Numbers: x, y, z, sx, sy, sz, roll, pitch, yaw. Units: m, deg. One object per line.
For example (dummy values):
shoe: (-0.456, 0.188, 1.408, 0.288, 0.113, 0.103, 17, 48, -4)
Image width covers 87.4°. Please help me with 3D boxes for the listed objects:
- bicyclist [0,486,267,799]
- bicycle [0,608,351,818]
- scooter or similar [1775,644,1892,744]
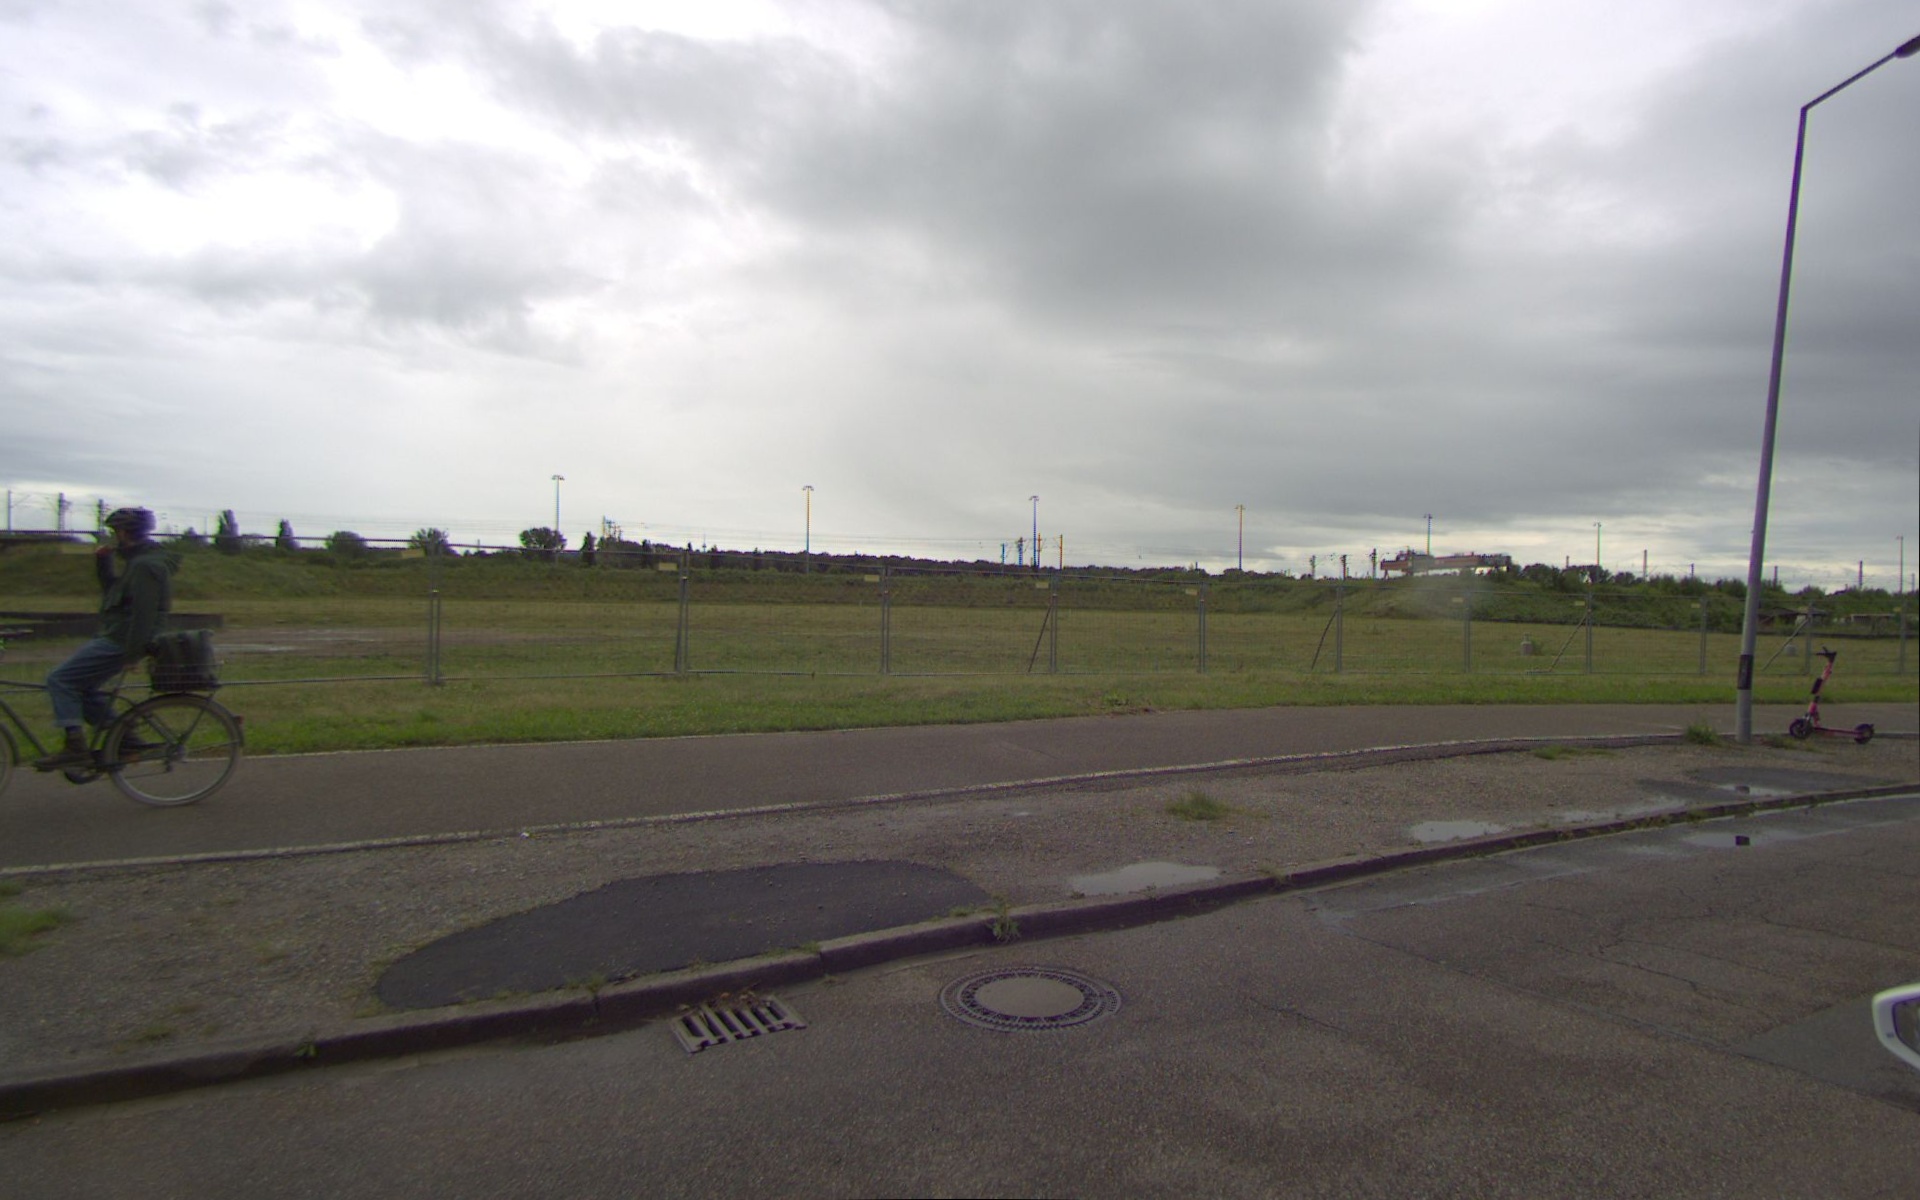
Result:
bicyclist: (-5.372, 0.253, 6.560, 1.315, 1.846, 0.823, 1, 1, -31)
bicycle: (-5.445, 0.677, 6.520, 2.528, 1.220, 0.814, 1, 1, -32)
scooter or similar: (11.560, 1.213, 13.287, 1.682, 1.198, 0.605, 2, 2, -30)
